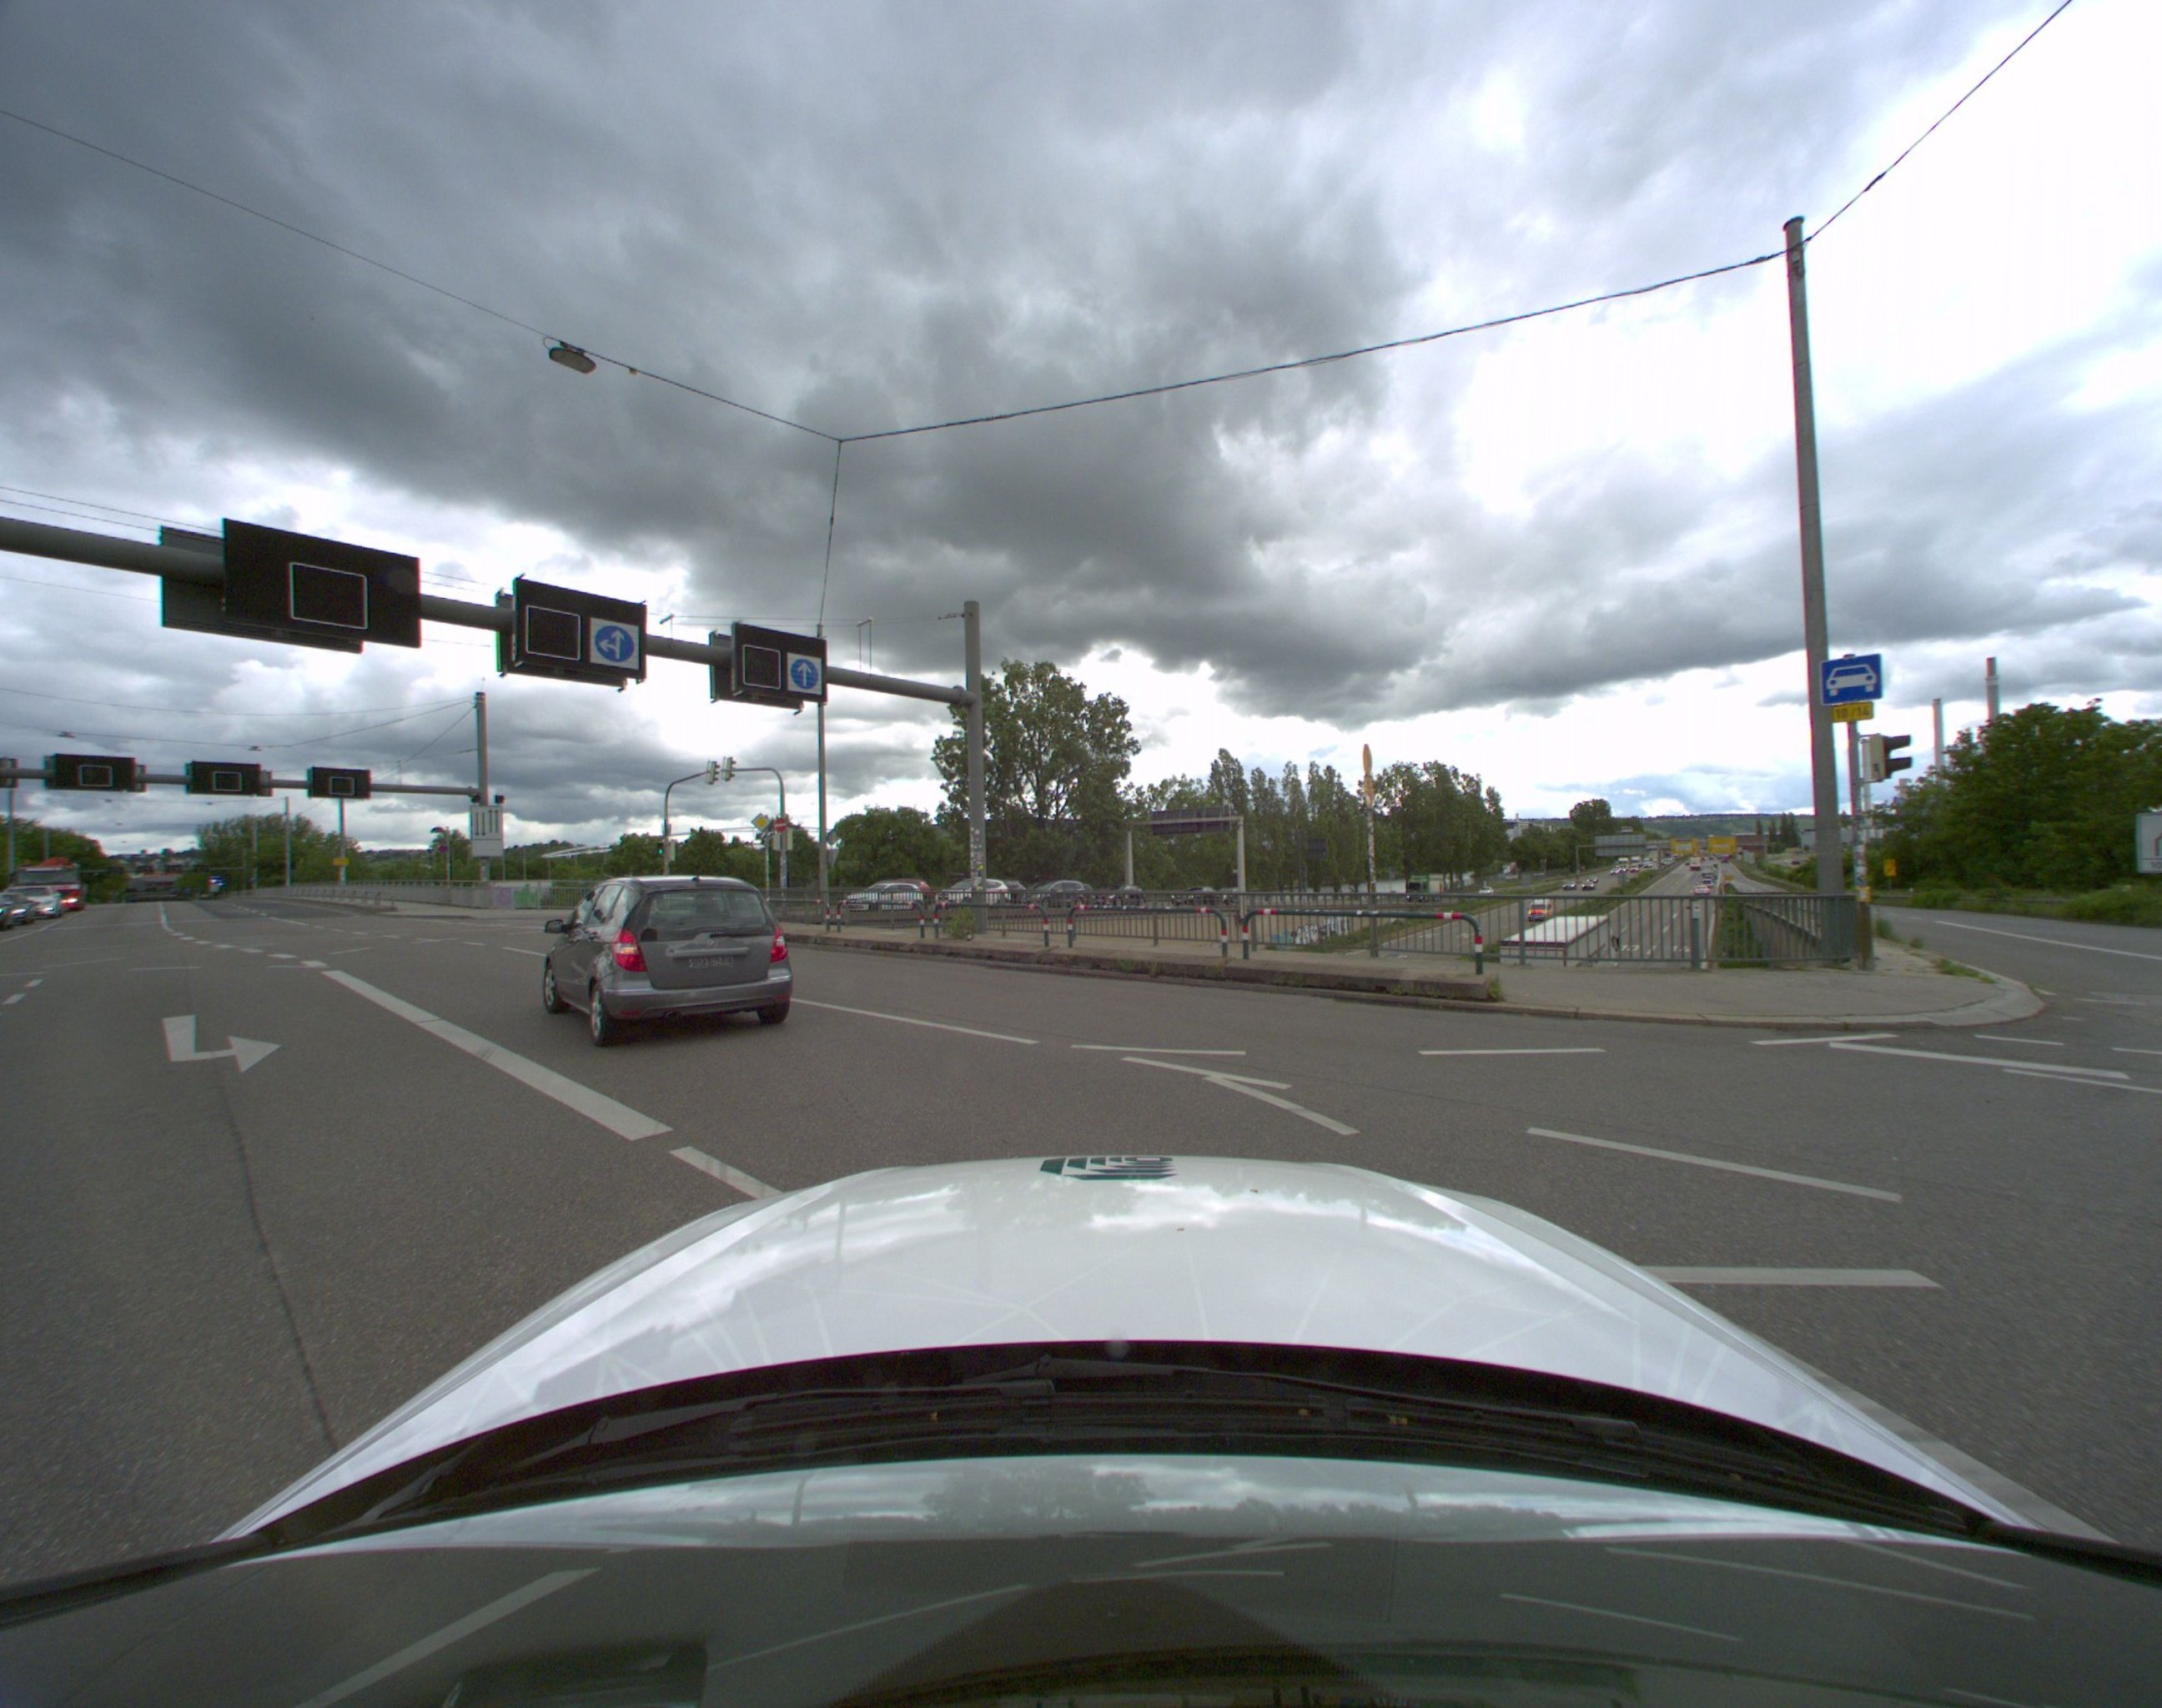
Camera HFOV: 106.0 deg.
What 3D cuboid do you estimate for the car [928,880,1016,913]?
[{"bbox_3d":[-5.664,2.206,42.714,1.974,1.620,4.369,-4,-4,40],"label":"car"}]

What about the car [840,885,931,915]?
[{"bbox_3d":[-9.036,2.128,37.811,1.768,1.313,3.787,-4,-4,42],"label":"car"}]

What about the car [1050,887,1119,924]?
[{"bbox_3d":[0.275,3.409,54.630,2.185,2.013,4.574,-2,2,40],"label":"car"}]

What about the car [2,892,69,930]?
[{"bbox_3d":[-54.819,2.955,42.789,4.741,1.761,1.898,-2,0,41],"label":"car"}]

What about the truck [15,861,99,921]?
[{"bbox_3d":[-68.451,2.424,54.627,9.853,3.565,3.035,-2,0,41],"label":"truck"}]

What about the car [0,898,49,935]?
[{"bbox_3d":[-48.459,2.822,36.904,4.459,1.504,1.853,-2,0,41],"label":"car"}]

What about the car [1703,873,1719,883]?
[{"bbox_3d":[110.633,4.232,143.003,1.974,1.737,4.022,-4,-4,36],"label":"car"}]

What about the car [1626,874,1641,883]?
[{"bbox_3d":[111.120,4.881,163.743,1.974,1.707,4.105,-4,-4,39],"label":"car"}]

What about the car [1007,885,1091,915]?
[{"bbox_3d":[-1.808,2.639,47.117,1.974,1.620,4.993,-4,-4,40],"label":"car"}]

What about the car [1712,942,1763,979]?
[{"bbox_3d":[37.555,6.049,46.568,1.974,1.737,4.021,-4,-4,42],"label":"car"}]

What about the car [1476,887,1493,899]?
[{"bbox_3d":[70.796,6.846,142.898,1.974,1.669,3.796,-2,1,36],"label":"car"}]

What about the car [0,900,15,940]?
[{"bbox_3d":[-43.925,2.671,32.154,3.822,1.504,1.853,-2,0,43],"label":"car"}]

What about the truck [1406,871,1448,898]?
[{"bbox_3d":[49.395,4.274,116.162,2.746,3.510,9.316,-2,-1,40],"label":"truck"}]

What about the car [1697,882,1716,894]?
[{"bbox_3d":[91.840,4.947,119.630,1.974,1.737,4.022,-4,-4,36],"label":"car"}]

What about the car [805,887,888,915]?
[{"bbox_3d":[-12.711,2.524,44.357,1.674,1.421,4.179,-4,-4,38],"label":"car"}]

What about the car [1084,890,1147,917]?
[{"bbox_3d":[2.283,3.184,52.673,1.974,1.618,4.024,-4,-4,40],"label":"car"}]

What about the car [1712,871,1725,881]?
[{"bbox_3d":[138.004,4.828,176.425,1.974,2.014,4.025,-4,-4,36],"label":"car"}]

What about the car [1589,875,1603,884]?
[{"bbox_3d":[111.230,5.533,175.896,1.974,1.707,4.105,-4,-4,39],"label":"car"}]

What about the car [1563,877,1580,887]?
[{"bbox_3d":[89.693,5.109,148.882,1.974,1.707,4.105,-4,-4,39],"label":"car"}]

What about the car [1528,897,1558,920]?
[{"bbox_3d":[50.963,6.015,89.828,1.974,2.371,4.618,-4,-4,39],"label":"car"}]

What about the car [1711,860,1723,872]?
[{"bbox_3d":[147.694,2.777,189.083,1.974,2.623,5.433,-4,-4,36],"label":"car"}]

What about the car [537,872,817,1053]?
[{"bbox_3d":[-4.617,1.006,9.030,1.761,1.551,3.823,1,-2,-43],"label":"car"}]

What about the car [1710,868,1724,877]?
[{"bbox_3d":[126.019,3.654,161.361,1.974,1.737,4.022,-4,-4,36],"label":"car"}]

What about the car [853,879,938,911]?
[{"bbox_3d":[-9.422,2.063,41.545,1.674,1.540,4.033,-4,-4,39],"label":"car"}]

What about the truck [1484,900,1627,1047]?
[{"bbox_3d":[22.497,5.002,38.028,3.542,4.485,13.265,-2,2,39],"label":"truck"}]

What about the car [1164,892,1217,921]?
[{"bbox_3d":[8.070,3.820,59.729,1.974,1.617,4.026,-2,2,40],"label":"car"}]
